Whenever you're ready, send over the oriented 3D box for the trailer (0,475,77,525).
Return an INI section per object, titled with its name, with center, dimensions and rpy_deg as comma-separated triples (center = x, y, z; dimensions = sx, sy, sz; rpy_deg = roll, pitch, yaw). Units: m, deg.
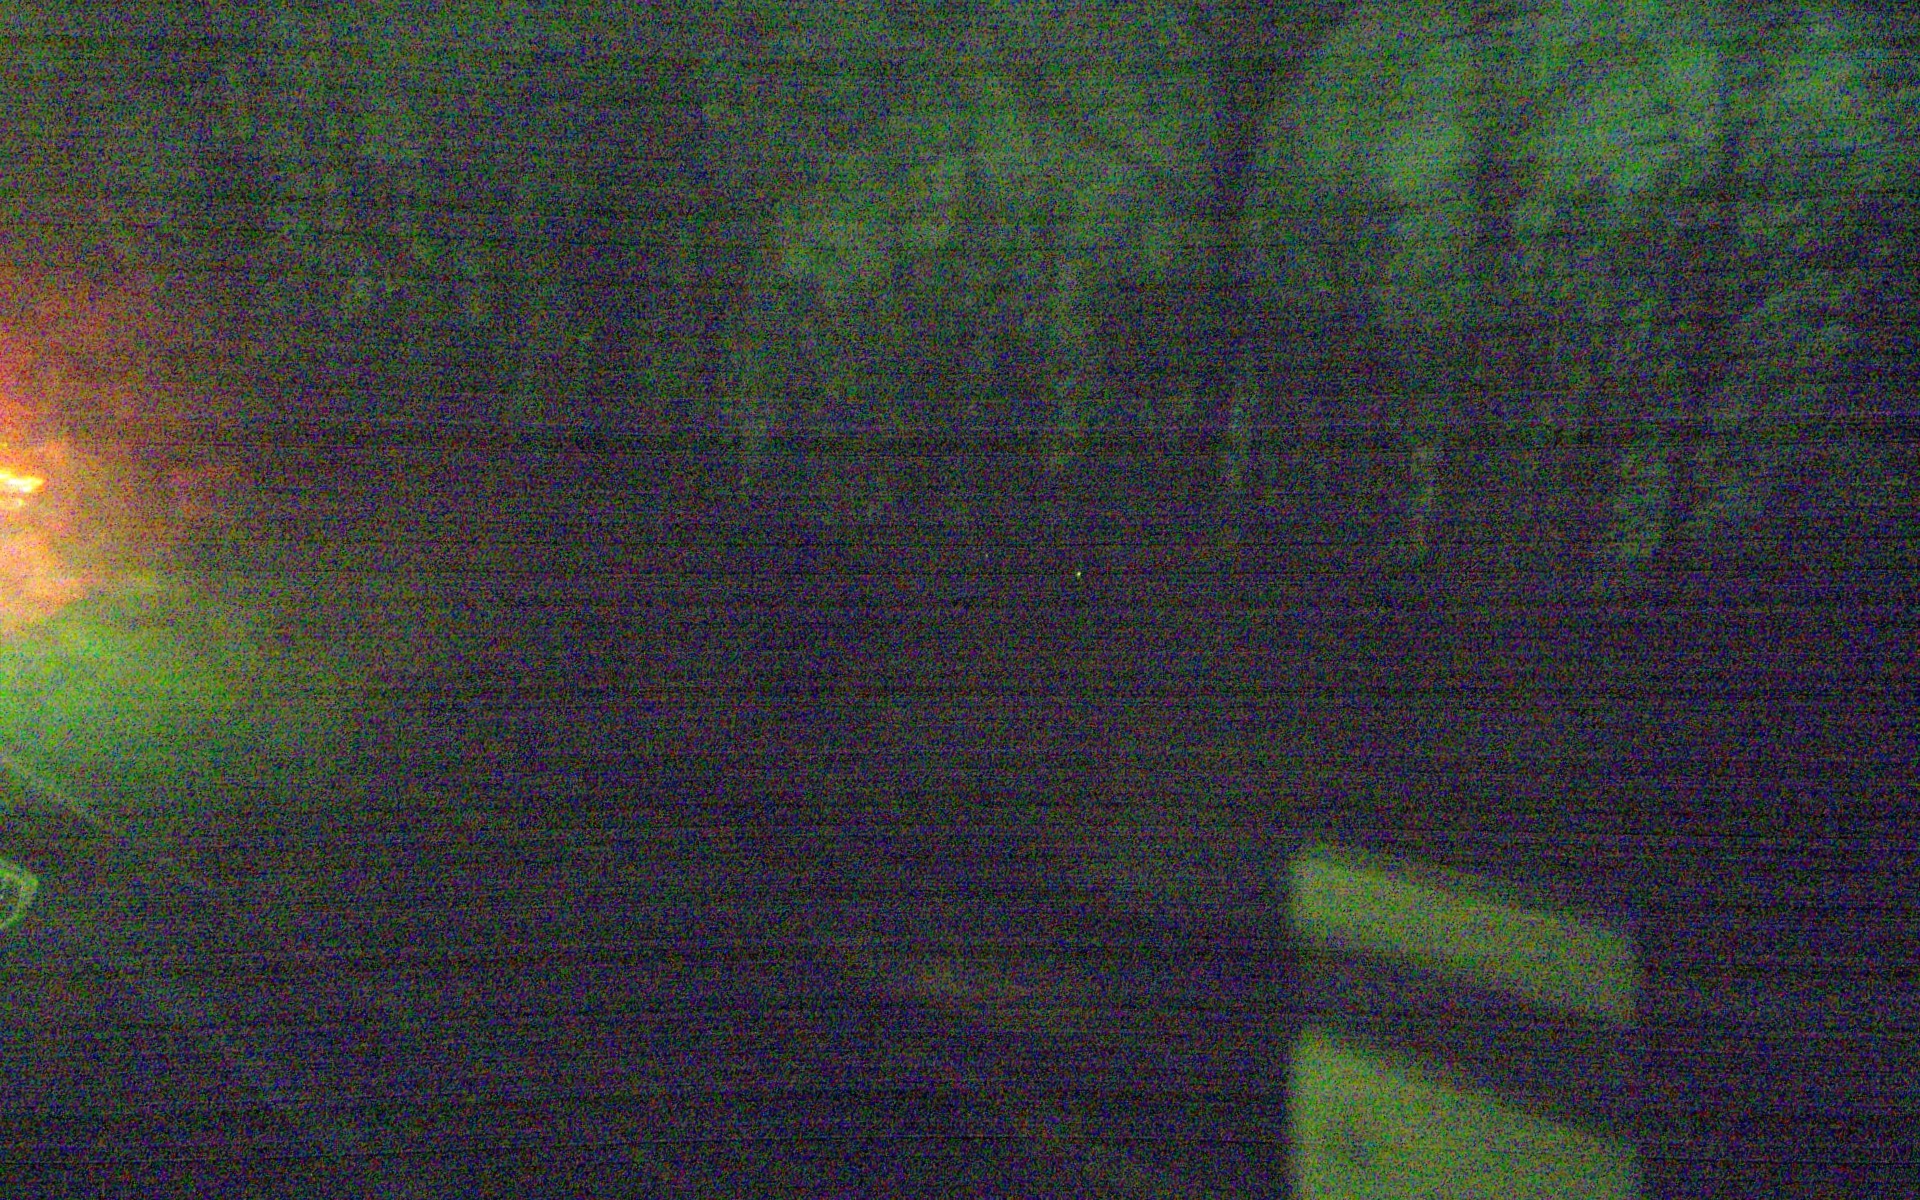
[trailer]
center = -49.289, -5.225, 53.527
dimensions = 2.065, 2.038, 10.550
rpy_deg = 7, -1, -35
